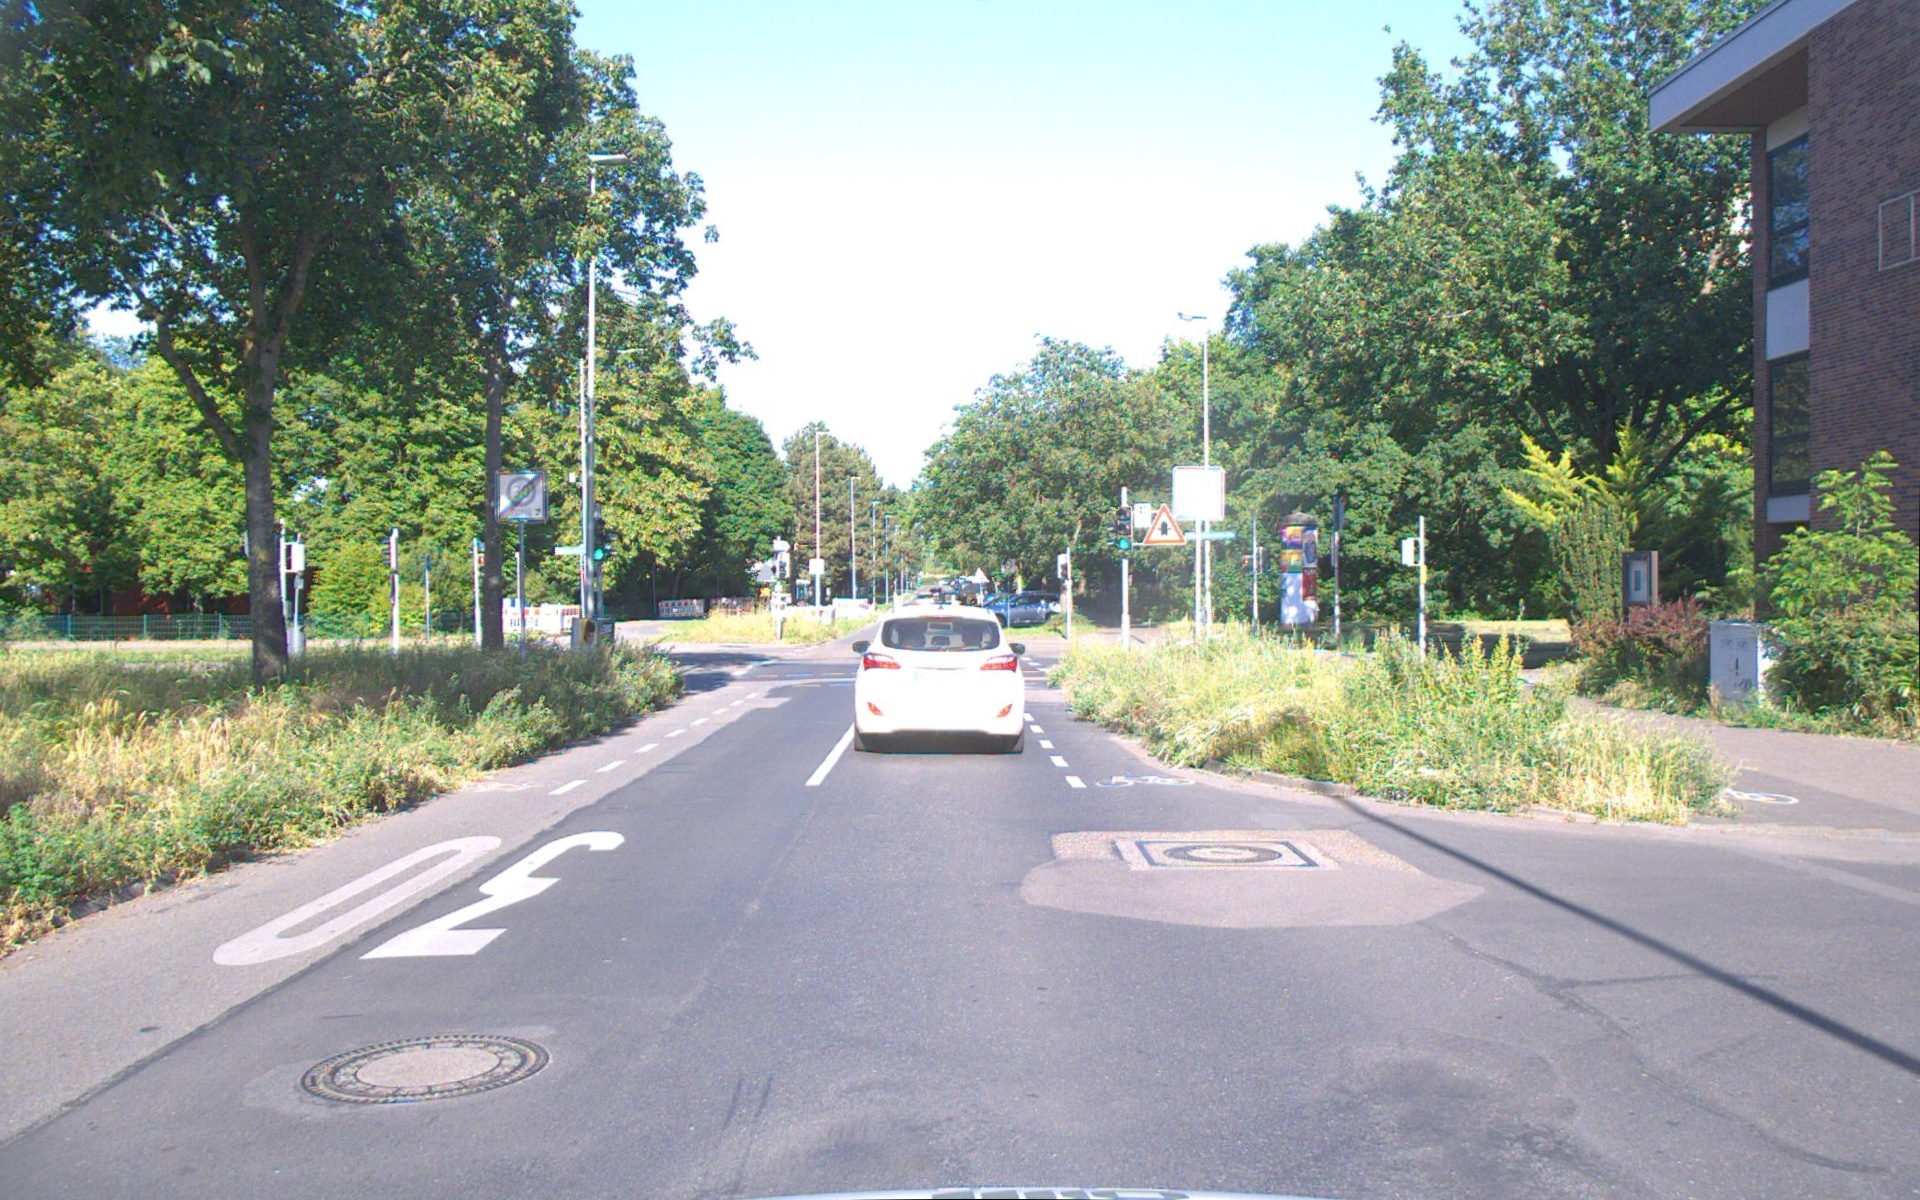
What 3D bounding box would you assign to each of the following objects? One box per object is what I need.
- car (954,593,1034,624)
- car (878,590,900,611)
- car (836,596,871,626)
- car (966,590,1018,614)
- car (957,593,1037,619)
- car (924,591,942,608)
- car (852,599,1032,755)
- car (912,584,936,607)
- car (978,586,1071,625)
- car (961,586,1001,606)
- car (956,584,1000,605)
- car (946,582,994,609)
[{"bbox_3d":[1.913,0.459,92.103,4.405,1.658,1.855,-1,0,2],"label":"car"},{"bbox_3d":[-6.520,0.044,152.240,1.953,1.847,4.000,0,0,0],"label":"car"},{"bbox_3d":[-6.658,0.703,104.104,1.953,1.847,3.999,1,0,0],"label":"car"},{"bbox_3d":[2.334,0.149,122.071,3.741,1.713,1.863,1,0,-1],"label":"car"},{"bbox_3d":[2.546,0.431,115.454,5.499,1.713,1.948,1,0,-1],"label":"car"},{"bbox_3d":[-2.898,-0.066,178.528,1.953,1.847,3.999,1,0,0],"label":"car"},{"bbox_3d":[-0.196,0.747,18.076,1.753,1.489,3.963,0,0,-1],"label":"car"},{"bbox_3d":[-3.014,-0.391,139.523,1.953,1.847,4.000,1,0,0],"label":"car"},{"bbox_3d":[3.127,0.266,80.048,4.405,1.814,1.855,-1,0,2],"label":"car"},{"bbox_3d":[1.974,-0.350,156.277,3.741,1.798,1.863,1,0,-1],"label":"car"},{"bbox_3d":[1.716,-0.509,159.422,4.214,1.941,1.863,1,0,-1],"label":"car"},{"bbox_3d":[0.796,-0.342,132.089,3.741,2.135,1.863,1,0,-1],"label":"car"}]
